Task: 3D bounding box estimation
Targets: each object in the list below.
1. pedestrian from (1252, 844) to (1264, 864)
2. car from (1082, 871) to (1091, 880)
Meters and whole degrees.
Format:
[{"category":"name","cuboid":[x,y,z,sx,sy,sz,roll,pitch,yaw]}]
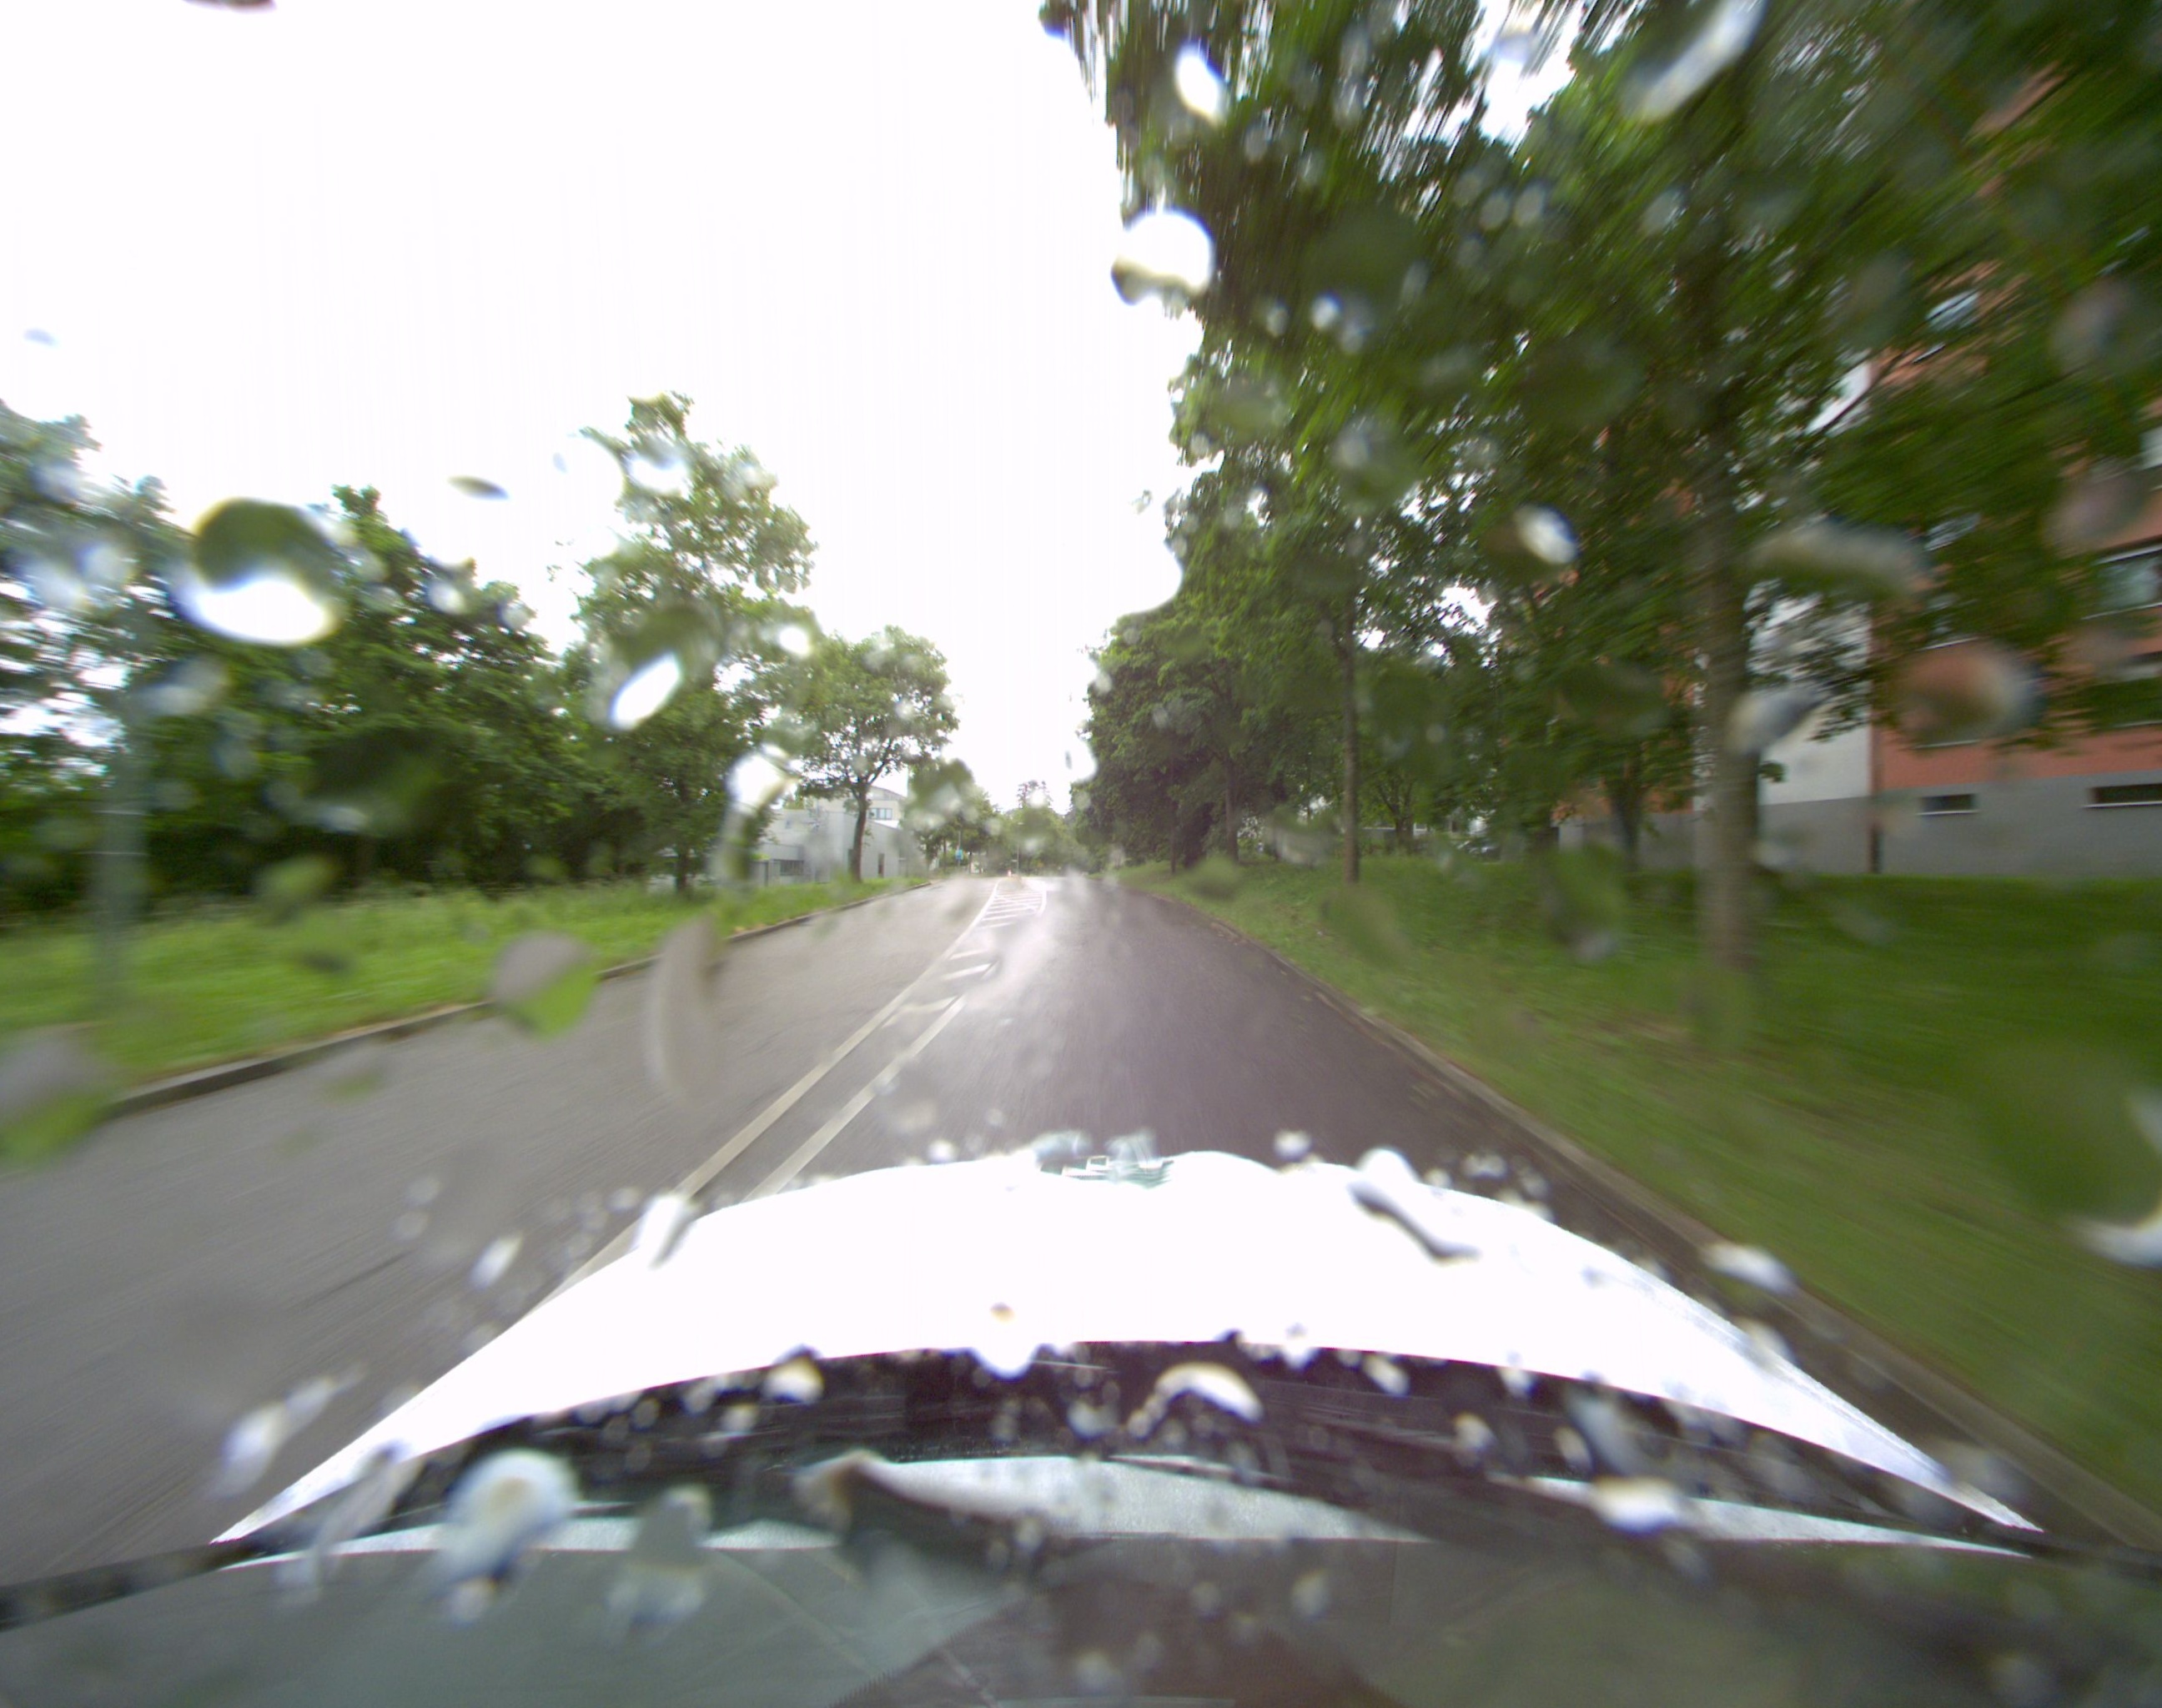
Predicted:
[{"category":"pedestrian","cuboid":[12.100,0.003,55.573,0.652,1.284,0.625,-2,0,1]},{"category":"car","cuboid":[1.065,4.187,157.913,1.731,1.511,3.999,-1,-2,0]}]
